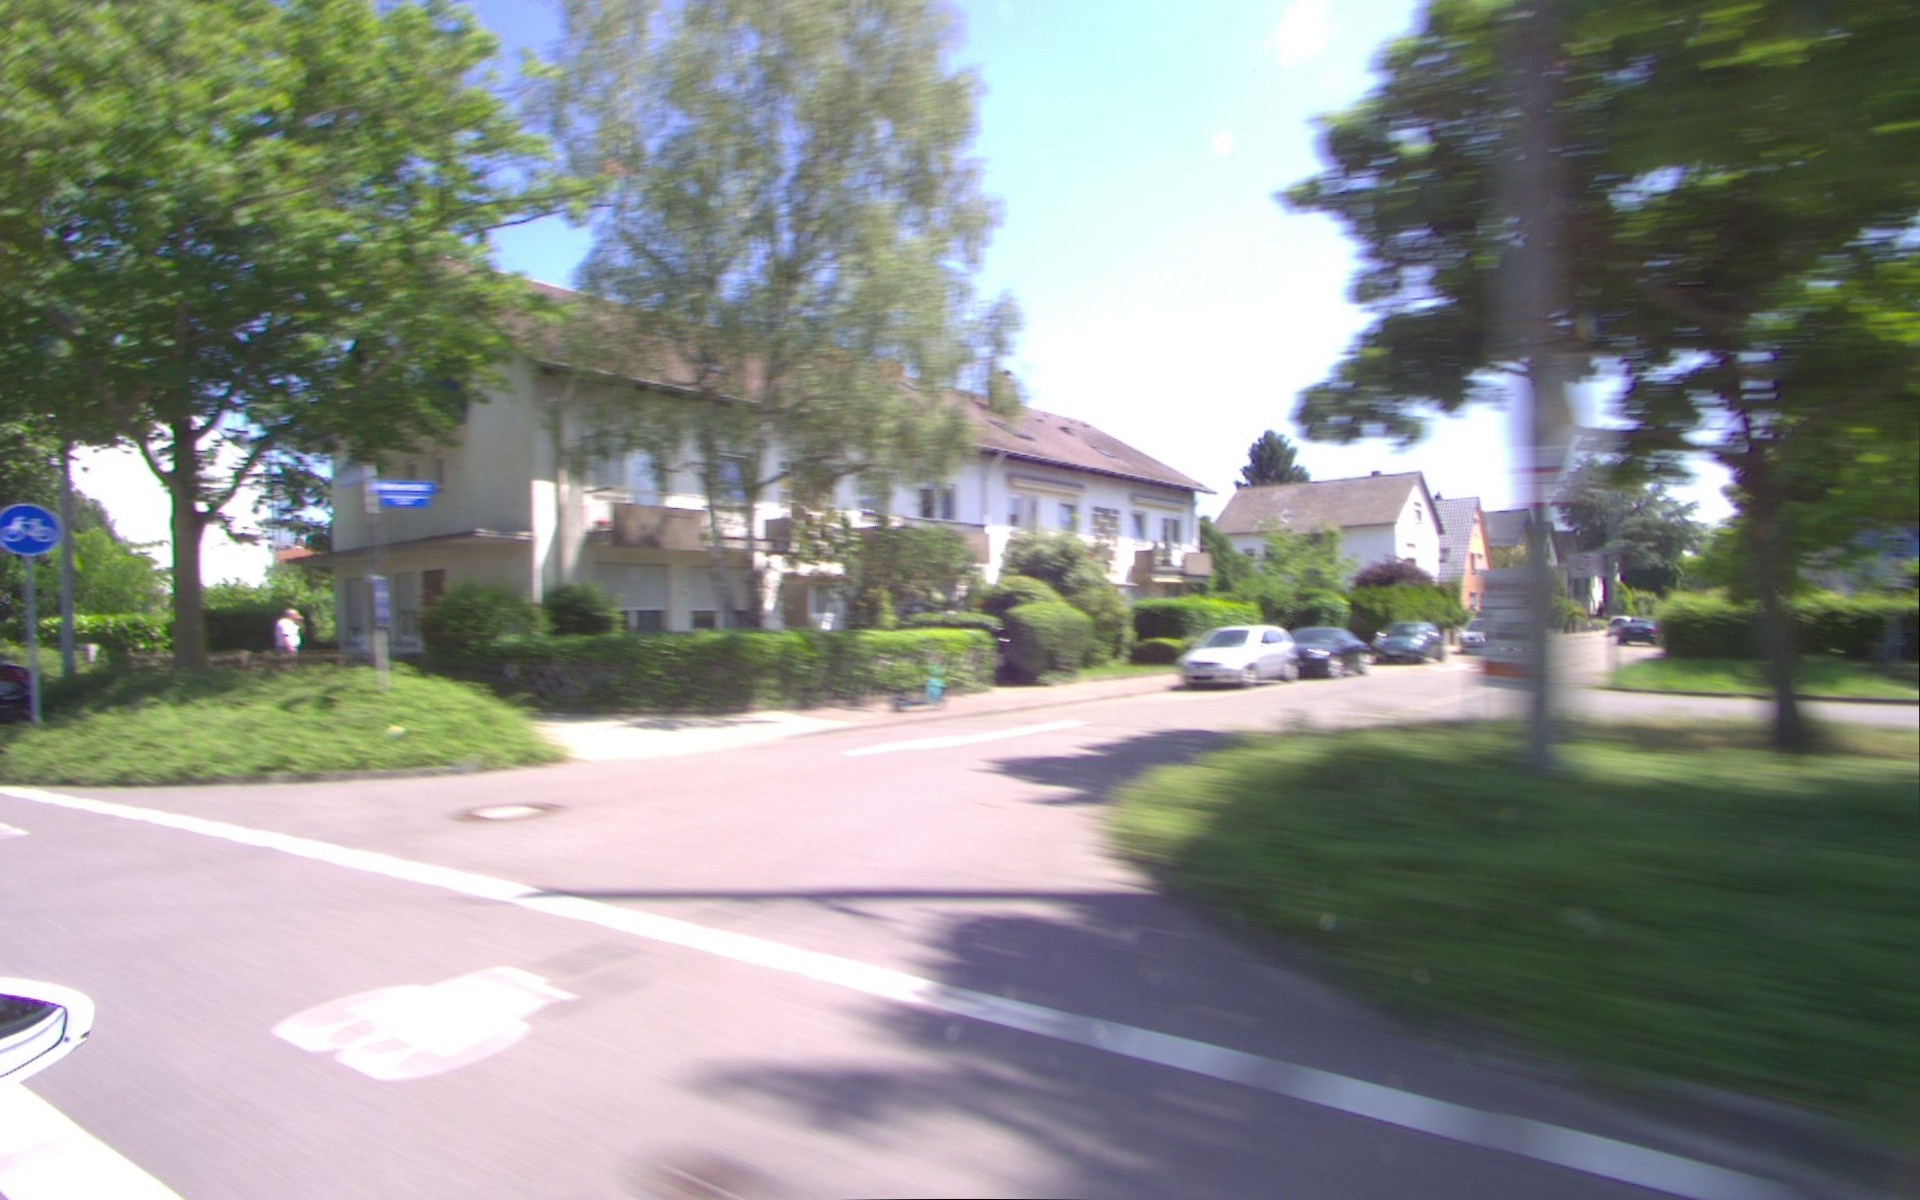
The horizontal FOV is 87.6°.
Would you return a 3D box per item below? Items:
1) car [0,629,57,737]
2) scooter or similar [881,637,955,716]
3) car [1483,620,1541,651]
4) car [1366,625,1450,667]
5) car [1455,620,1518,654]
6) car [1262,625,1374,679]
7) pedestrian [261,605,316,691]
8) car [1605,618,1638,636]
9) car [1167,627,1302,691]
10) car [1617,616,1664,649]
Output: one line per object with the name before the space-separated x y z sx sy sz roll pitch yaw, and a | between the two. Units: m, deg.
car | -15.556 1.212 14.847 4.753 1.455 1.837 -1 2 31
scooter or similar | -0.716 1.288 17.228 1.176 1.287 0.596 0 -1 -42
car | 25.647 1.632 46.487 1.700 1.363 3.765 -1 -1 40
car | 15.399 1.528 34.307 1.700 1.363 3.765 -1 -1 40
car | 22.662 1.566 43.035 1.700 1.363 3.765 -1 -1 40
car | 9.804 1.369 27.274 1.700 1.363 3.765 -1 -1 40
pedestrian | -14.049 0.997 20.967 0.623 1.744 0.747 0 -1 26
car | 51.047 2.101 77.249 1.700 1.363 3.765 -1 -1 40
car | 6.538 1.328 23.661 1.700 1.363 3.765 -1 -1 40
car | 35.464 1.674 52.135 1.700 1.603 3.765 0 -1 40
